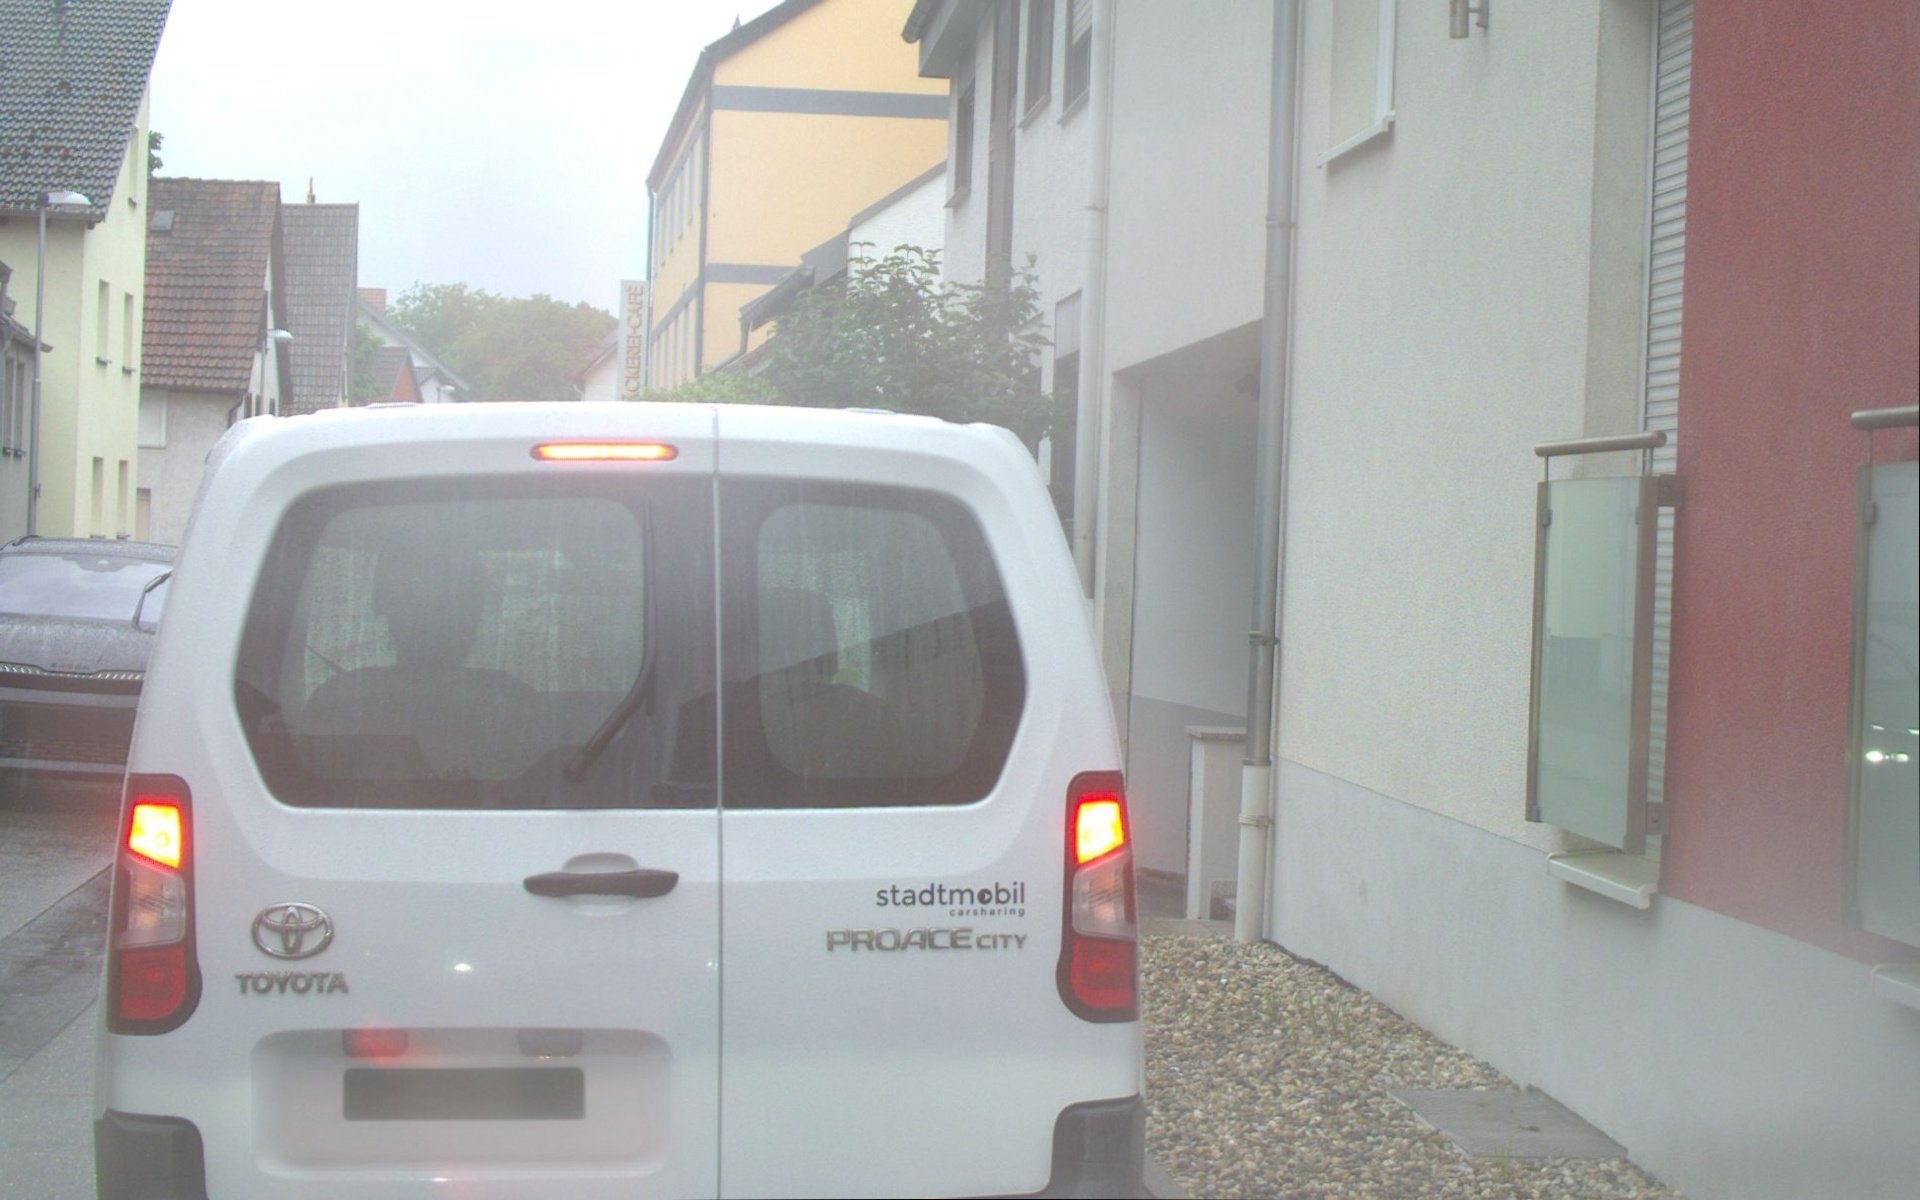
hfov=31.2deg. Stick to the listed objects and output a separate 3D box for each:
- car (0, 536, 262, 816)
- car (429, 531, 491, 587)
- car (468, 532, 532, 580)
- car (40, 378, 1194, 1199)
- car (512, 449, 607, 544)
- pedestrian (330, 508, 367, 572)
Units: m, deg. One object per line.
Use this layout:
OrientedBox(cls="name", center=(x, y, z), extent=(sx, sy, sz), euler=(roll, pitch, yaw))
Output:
OrientedBox(cls="car", center=(-5.454, 0.400, 21.627), extent=(1.832, 1.550, 4.240), euler=(2, 0, -9))
OrientedBox(cls="car", center=(-13.740, -1.128, 94.361), extent=(1.560, 1.472, 4.001), euler=(1, 1, -10))
OrientedBox(cls="car", center=(-14.085, -1.341, 105.079), extent=(1.779, 1.390, 4.001), euler=(1, 1, -10))
OrientedBox(cls="car", center=(-0.827, 0.538, 7.335), extent=(1.774, 1.774, 4.001), euler=(1, 1, -9))
OrientedBox(cls="car", center=(-8.848, -2.271, 76.246), extent=(1.993, 2.007, 4.001), euler=(1, 1, -6))
OrientedBox(cls="pedestrian", center=(-18.316, -1.793, 103.036), extent=(1.050, 1.886, 0.877), euler=(1, 0, -9))
